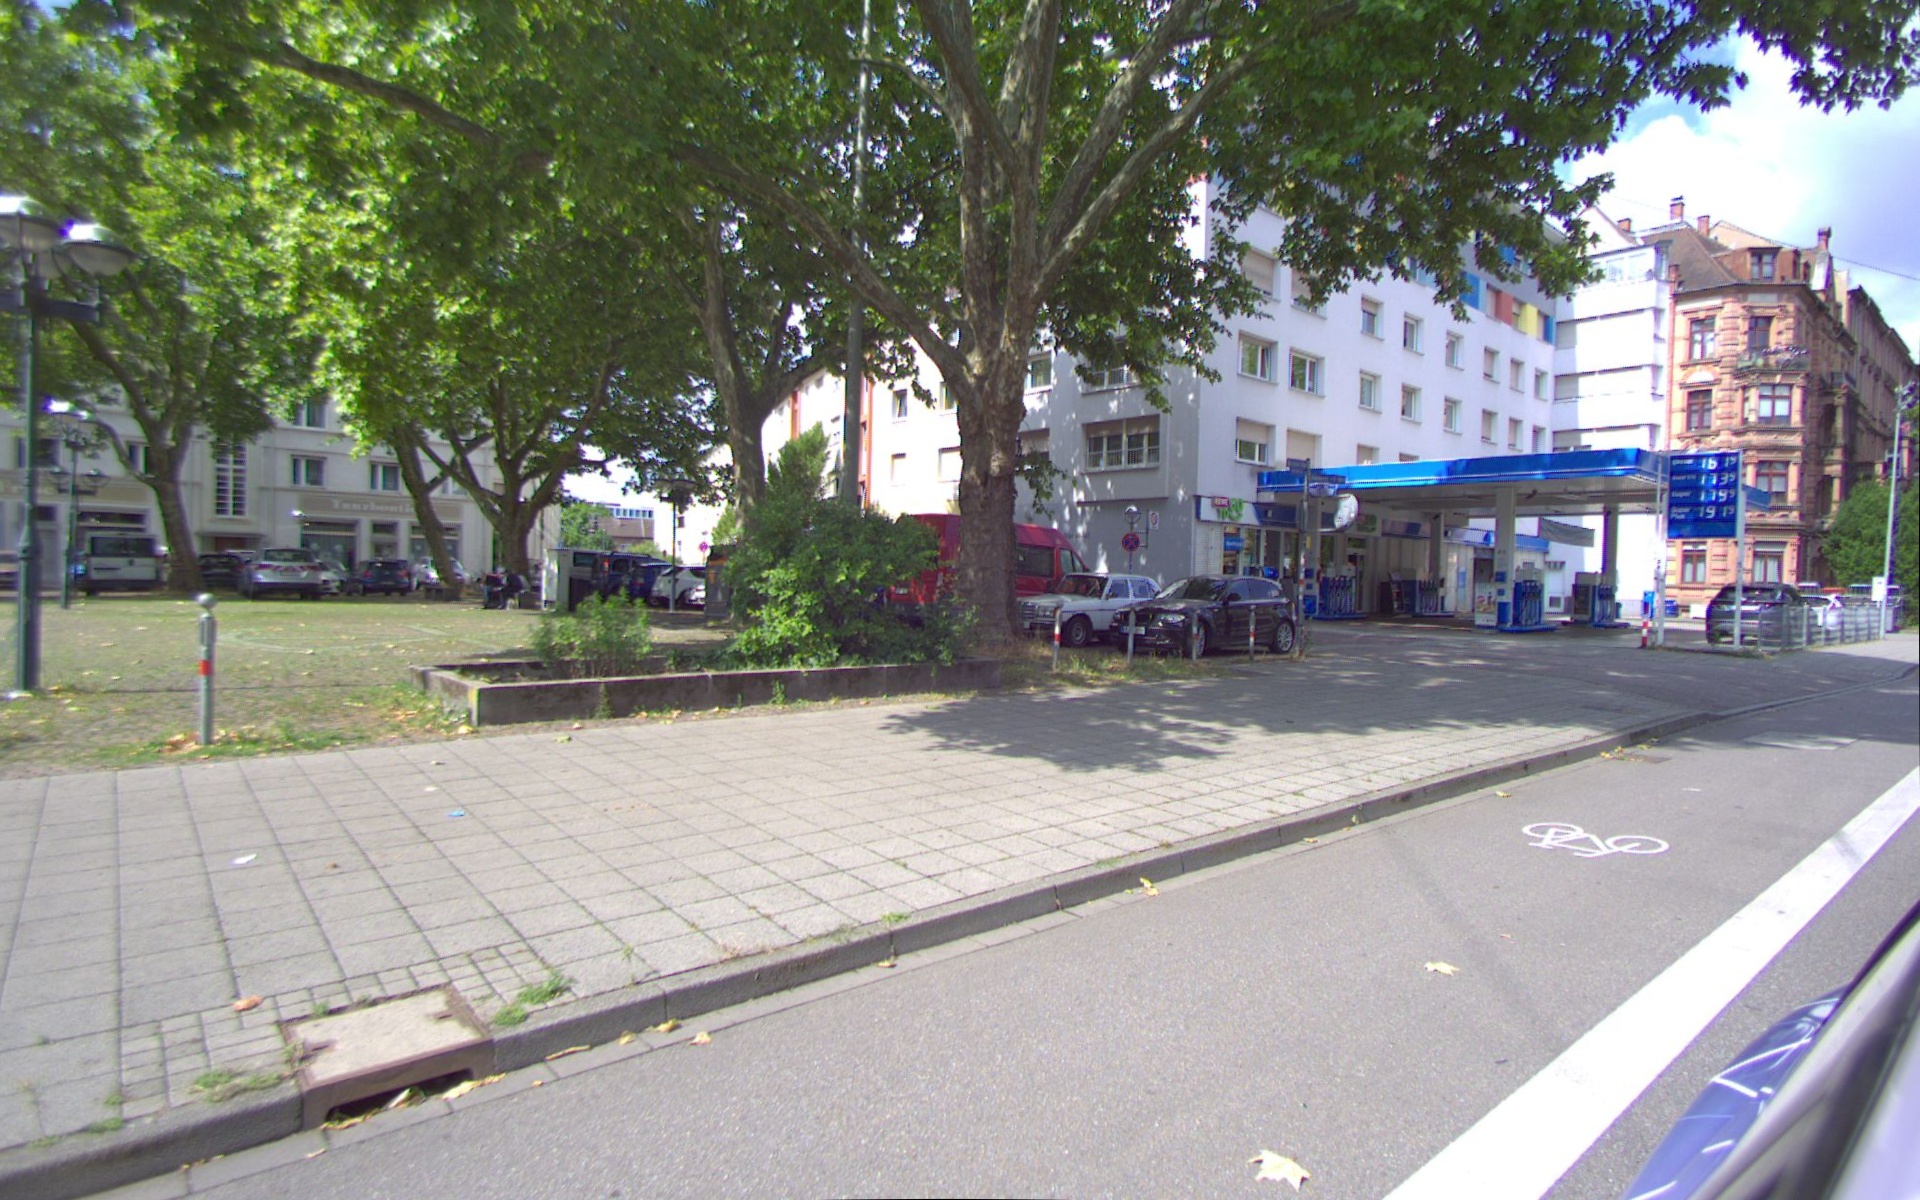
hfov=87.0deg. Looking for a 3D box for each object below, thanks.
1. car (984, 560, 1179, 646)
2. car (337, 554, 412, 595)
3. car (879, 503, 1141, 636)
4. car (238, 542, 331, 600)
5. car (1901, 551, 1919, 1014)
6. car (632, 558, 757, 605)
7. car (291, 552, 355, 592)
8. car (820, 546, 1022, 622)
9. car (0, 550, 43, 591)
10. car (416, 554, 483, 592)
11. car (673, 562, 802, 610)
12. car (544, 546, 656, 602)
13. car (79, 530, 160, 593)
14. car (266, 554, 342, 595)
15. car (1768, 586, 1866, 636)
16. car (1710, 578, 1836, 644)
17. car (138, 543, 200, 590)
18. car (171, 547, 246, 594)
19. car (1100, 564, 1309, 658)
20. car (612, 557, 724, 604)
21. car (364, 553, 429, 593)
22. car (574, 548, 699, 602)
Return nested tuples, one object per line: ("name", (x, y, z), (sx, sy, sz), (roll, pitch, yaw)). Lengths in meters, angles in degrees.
("car", (2.456, 0.031, 19.806), (3.976, 1.488, 1.650), (0, 2, -44))
("car", (-23.648, -1.030, 40.824), (1.964, 1.543, 4.161), (0, 2, -40))
("car", (1.255, -0.620, 22.598), (5.911, 2.614, 2.117), (0, 2, -39))
("car", (-21.015, -0.923, 31.414), (1.964, 1.656, 4.161), (0, 2, -40))
("car", (5.336, 0.618, 4.037), (4.487, 1.480, 1.799), (0, 2, -41))
("car", (-8.544, -0.579, 32.725), (3.581, 1.433, 1.647), (0, 0, -43))
("car", (-30.656, -1.369, 48.618), (2.151, 1.827, 4.757), (0, 2, -38))
("car", (-0.879, -0.355, 24.328), (4.568, 1.672, 2.011), (0, 0, -39))
("car", (-38.881, -1.246, 41.250), (2.001, 1.569, 4.692), (0, 2, -40))
("car", (-26.138, -1.388, 51.743), (2.151, 1.827, 4.757), (0, 2, -38))
("car", (-6.786, -0.417, 31.043), (3.581, 1.380, 1.582), (0, 0, -43))
("car", (-13.643, -0.968, 38.426), (3.581, 2.012, 1.824), (0, 2, -43))
("car", (-29.094, -1.329, 35.073), (2.040, 2.038, 4.264), (0, 2, -40))
("car", (-24.798, -0.968, 38.170), (1.924, 1.439, 4.174), (0, 2, -40))
("car", (27.284, 0.328, 32.194), (3.932, 1.473, 1.809), (0, 1, -41))
("car", (22.158, 0.262, 27.532), (4.501, 1.622, 1.810), (0, 1, -40))
("car", (-35.034, -1.482, 44.788), (2.001, 1.953, 4.692), (0, 2, -40))
("car", (-27.318, -1.093, 36.723), (1.964, 1.614, 4.264), (0, 2, -40))
("car", (4.438, 0.157, 18.062), (3.973, 1.488, 1.651), (0, 2, -42))
("car", (-9.955, -0.639, 34.567), (3.320, 1.527, 1.600), (0, 0, -43))
("car", (-28.024, -1.361, 50.270), (2.151, 1.827, 4.695), (0, 2, -38))
("car", (-11.813, -0.885, 37.078), (3.979, 1.843, 1.824), (0, 0, -43))
